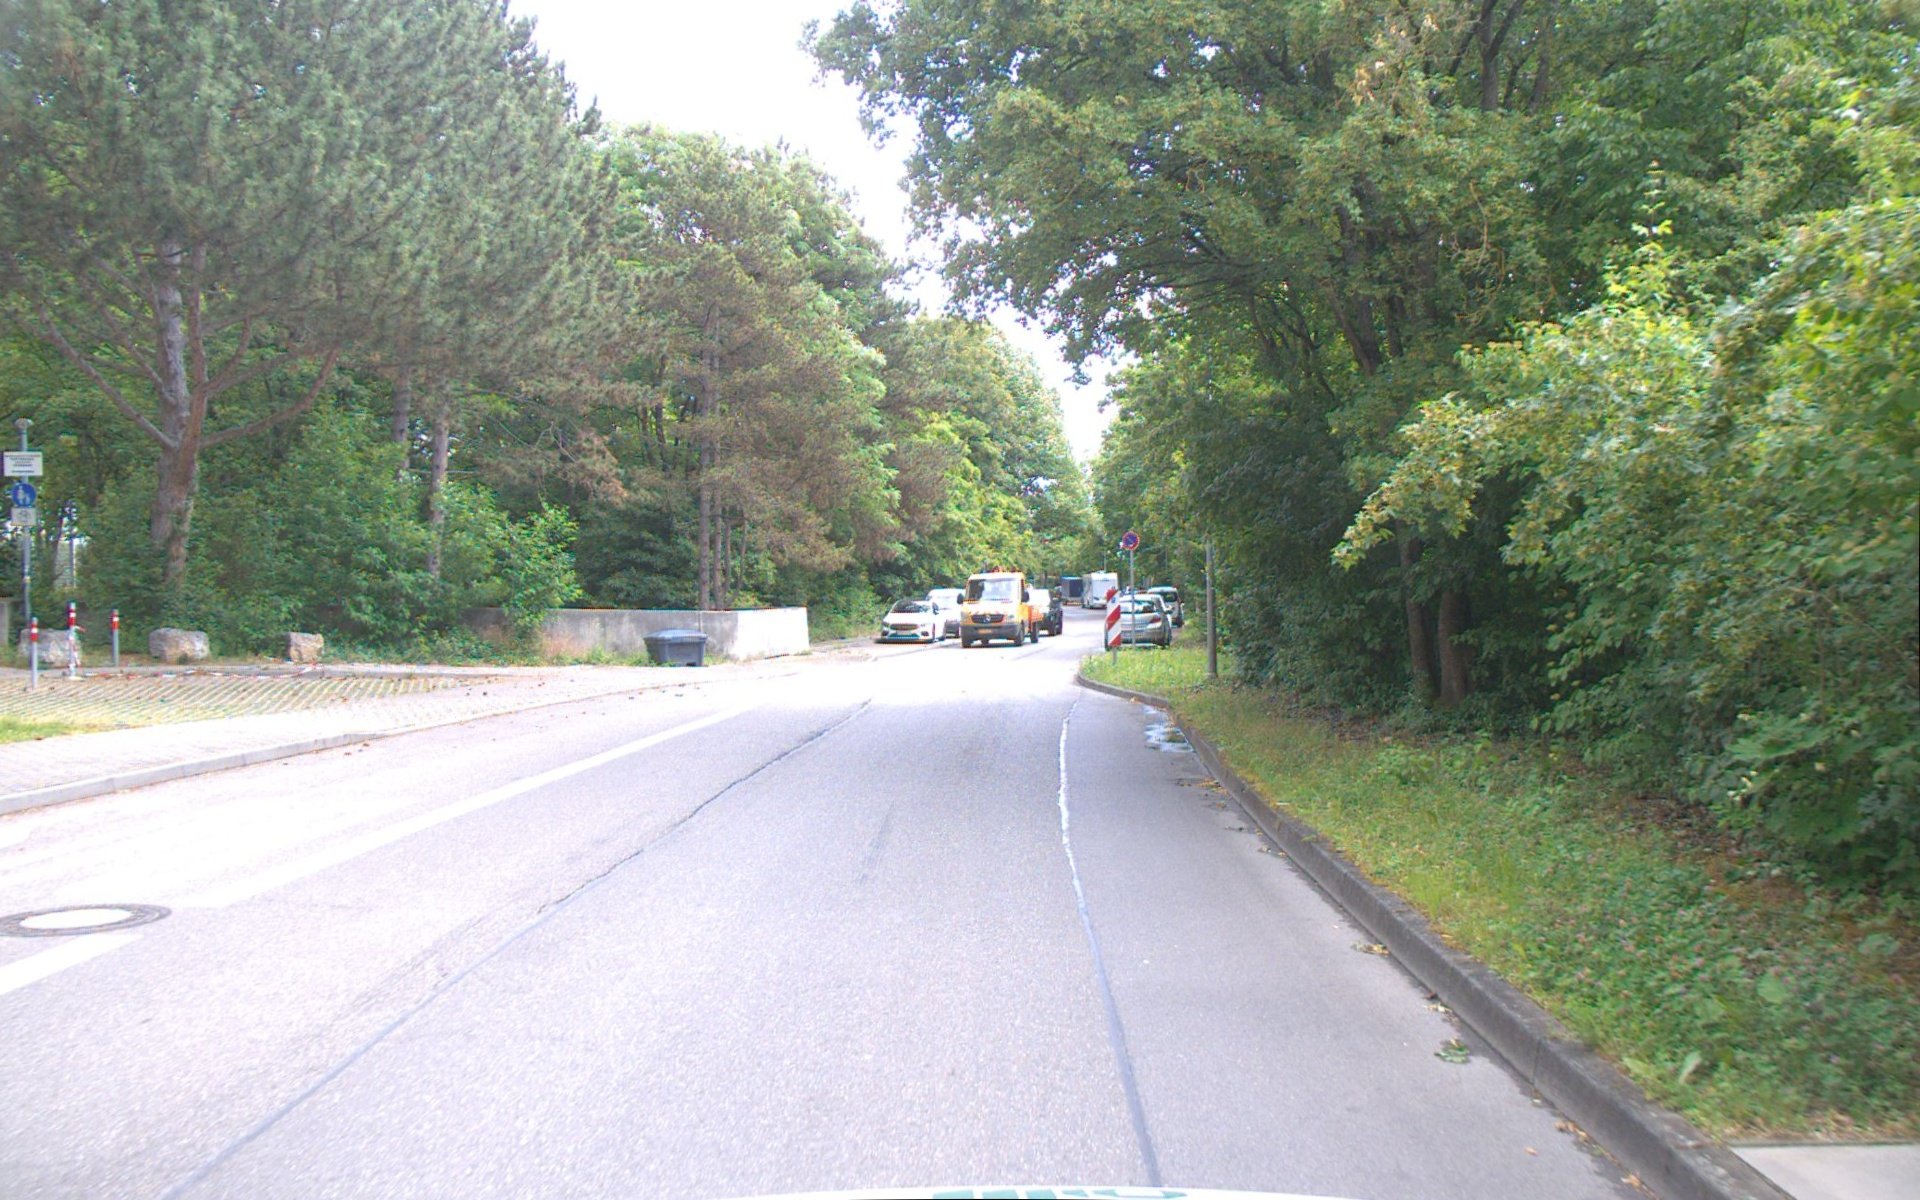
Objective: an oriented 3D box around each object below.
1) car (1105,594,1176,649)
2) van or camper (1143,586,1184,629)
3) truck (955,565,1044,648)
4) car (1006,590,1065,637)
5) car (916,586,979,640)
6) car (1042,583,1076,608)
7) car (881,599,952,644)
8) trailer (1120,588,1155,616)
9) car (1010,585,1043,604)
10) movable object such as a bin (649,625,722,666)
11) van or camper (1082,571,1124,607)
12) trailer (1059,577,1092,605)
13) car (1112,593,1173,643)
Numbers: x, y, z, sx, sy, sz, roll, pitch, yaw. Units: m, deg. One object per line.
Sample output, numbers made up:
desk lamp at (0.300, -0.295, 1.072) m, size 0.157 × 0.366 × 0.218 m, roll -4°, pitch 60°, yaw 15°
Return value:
car at (5.158, 0.582, 46.848) m, size 1.754 × 1.435 × 4.062 m, roll -2°, pitch 0°, yaw 9°
van or camper at (9.289, 0.371, 75.390) m, size 1.763 × 1.870 × 4.323 m, roll -1°, pitch -1°, yaw 7°
truck at (1.362, 0.169, 53.870) m, size 2.273 × 2.513 × 6.025 m, roll 1°, pitch 1°, yaw 7°
car at (3.082, 0.536, 66.503) m, size 1.951 × 1.766 × 5.340 m, roll -1°, pitch 0°, yaw 7°
car at (-0.430, 0.453, 63.138) m, size 1.684 × 1.955 × 4.108 m, roll 1°, pitch 1°, yaw 10°
car at (9.191, -0.437, 153.826) m, size 1.959 × 2.060 × 3.988 m, roll -4°, pitch 2°, yaw -12°
car at (-1.442, 0.707, 56.442) m, size 1.767 × 1.427 × 4.375 m, roll 0°, pitch 0°, yaw 7°
trailer at (12.608, 0.127, 117.878) m, size 1.938 × 1.843 × 5.149 m, roll -2°, pitch 1°, yaw 1°
car at (6.693, -0.540, 166.999) m, size 2.003 × 1.835 × 4.063 m, roll -2°, pitch 1°, yaw -17°
movable object such as a bin at (-5.434, 0.901, 32.693) m, size 1.131 × 0.773 × 1.039 m, roll 2°, pitch -1°, yaw -30°
van or camper at (11.823, -0.901, 137.477) m, size 2.433 × 2.926 × 6.884 m, roll -1°, pitch 0°, yaw -4°
trailer at (10.337, -0.833, 148.464) m, size 1.958 × 2.440 × 3.988 m, roll -1°, pitch 0°, yaw -12°
car at (6.030, 0.553, 54.250) m, size 1.846 × 1.533 × 5.180 m, roll -1°, pitch 0°, yaw 8°
